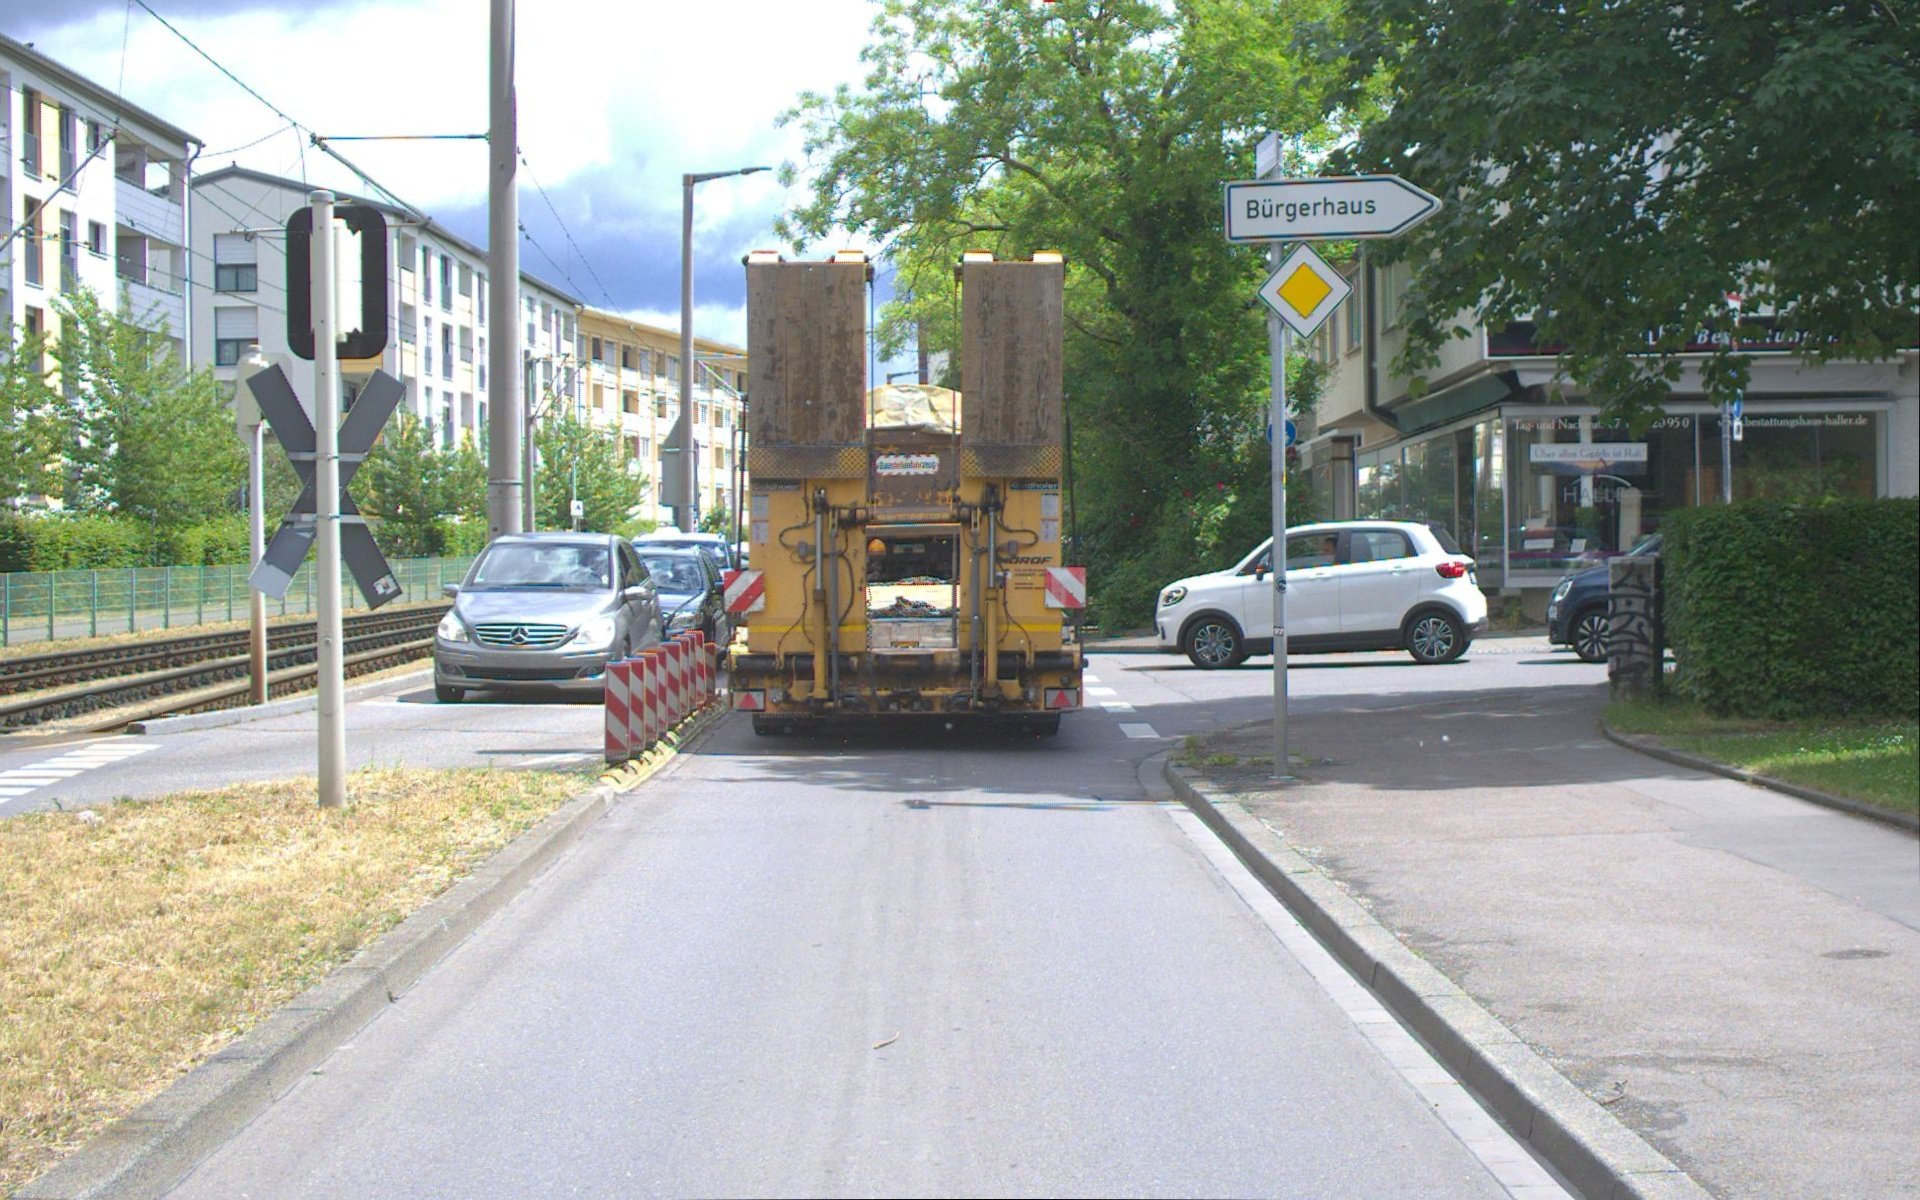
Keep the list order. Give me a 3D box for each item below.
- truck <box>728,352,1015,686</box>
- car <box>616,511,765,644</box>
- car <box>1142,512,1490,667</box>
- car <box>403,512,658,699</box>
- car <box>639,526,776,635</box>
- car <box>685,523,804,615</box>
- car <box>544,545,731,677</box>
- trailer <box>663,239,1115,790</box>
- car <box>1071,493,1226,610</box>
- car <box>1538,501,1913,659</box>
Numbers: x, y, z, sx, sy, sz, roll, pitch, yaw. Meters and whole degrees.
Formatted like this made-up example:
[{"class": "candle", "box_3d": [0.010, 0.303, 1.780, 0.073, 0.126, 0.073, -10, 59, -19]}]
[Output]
[{"class": "truck", "box_3d": [-1.125, -0.979, 39.060, 2.833, 3.318, 7.986, -2, 2, -3]}, {"class": "car", "box_3d": [-3.711, -0.321, 47.856, 1.602, 1.726, 3.938, -2, 1, 2]}, {"class": "car", "box_3d": [3.952, -0.129, 37.824, 3.600, 1.579, 1.999, -1, 1, 11]}, {"class": "car", "box_3d": [-4.086, 0.024, 33.313, 1.802, 1.646, 4.131, -2, 1, 2]}, {"class": "car", "box_3d": [-4.070, -0.344, 55.952, 1.993, 1.588, 3.892, -2, 2, -1]}, {"class": "car", "box_3d": [-3.947, -0.599, 63.550, 1.993, 1.515, 3.892, -2, 2, -1]}, {"class": "car", "box_3d": [-3.613, 0.097, 39.092, 1.602, 1.376, 3.956, -2, 1, 2]}, {"class": "trailer", "box_3d": [-0.762, -0.821, 29.859, 3.050, 3.759, 11.615, -2, 2, -3]}, {"class": "car", "box_3d": [2.812, -0.764, 52.029, 1.993, 1.612, 4.001, -2, 2, -1]}, {"class": "car", "box_3d": [8.115, -0.224, 36.340, 3.700, 1.517, 1.999, -1, 2, 17]}]
